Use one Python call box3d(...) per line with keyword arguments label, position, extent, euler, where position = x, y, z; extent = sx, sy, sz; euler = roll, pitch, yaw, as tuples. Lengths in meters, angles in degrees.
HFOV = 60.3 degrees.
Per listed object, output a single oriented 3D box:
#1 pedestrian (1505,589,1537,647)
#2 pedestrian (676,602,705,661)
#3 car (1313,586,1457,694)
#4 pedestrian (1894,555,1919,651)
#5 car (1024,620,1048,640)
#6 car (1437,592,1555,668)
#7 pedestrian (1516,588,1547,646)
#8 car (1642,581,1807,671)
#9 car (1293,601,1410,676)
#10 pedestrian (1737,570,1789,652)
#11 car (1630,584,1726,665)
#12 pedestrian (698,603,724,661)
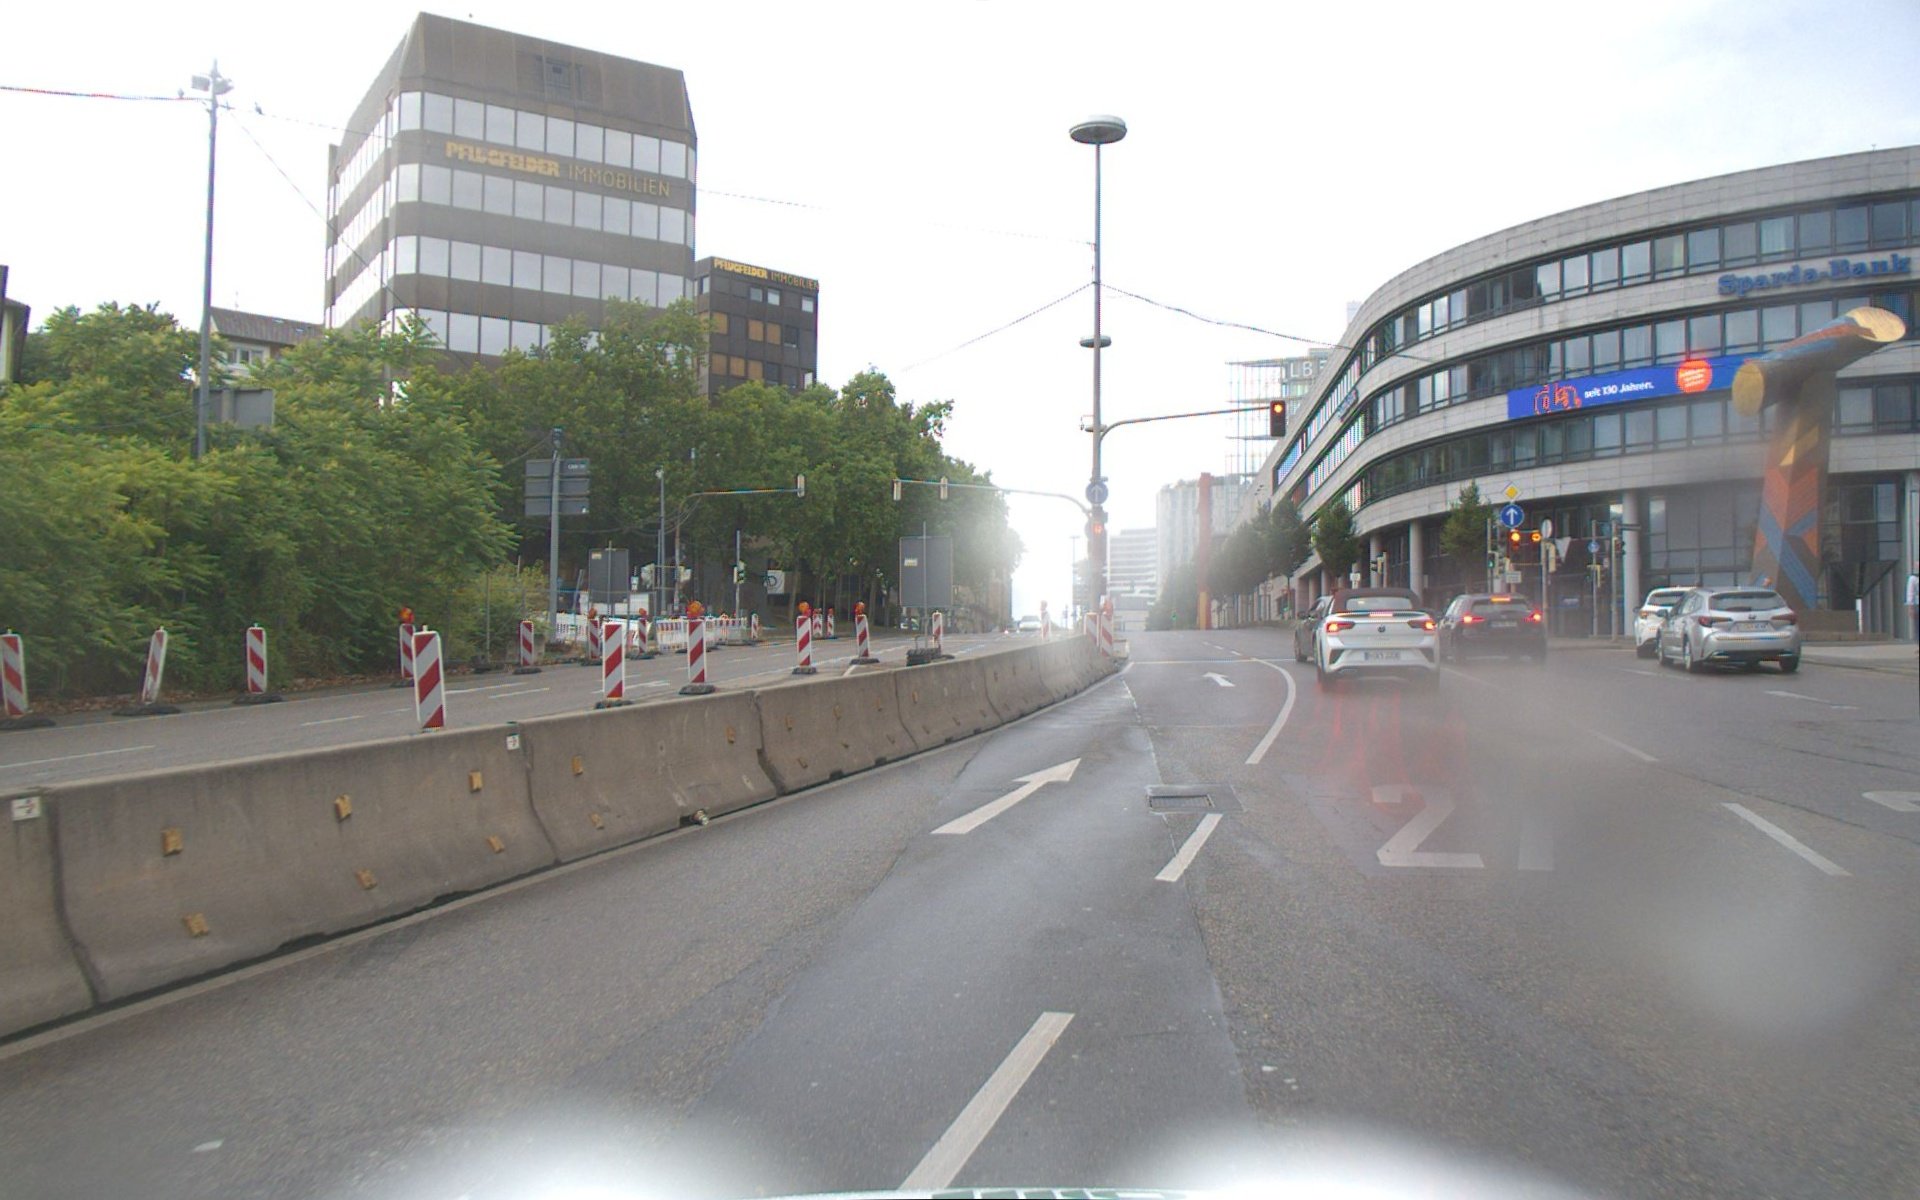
box3d(label="pedestrian", position=(18.902, 0.614, 55.725), extent=(0.825, 1.938, 0.859), euler=(-2, -3, 32))
box3d(label="pedestrian", position=(-9.120, 1.066, 55.990), extent=(0.745, 1.956, 0.742), euler=(0, -3, 8))
box3d(label="car", position=(6.653, 0.604, 26.281), extent=(1.922, 1.576, 4.222), euler=(-1, -1, 10))
box3d(label="pedestrian", position=(18.018, 0.065, 30.864), extent=(0.714, 1.741, 0.843), euler=(0, -3, 5))
box3d(label="car", position=(6.021, 2.388, 130.838), extent=(1.724, 1.486, 4.362), euler=(-2, 0, 5))
box3d(label="car", position=(10.974, 0.639, 34.103), extent=(1.717, 1.432, 4.230), euler=(1, -1, 10))
box3d(label="pedestrian", position=(19.564, 0.592, 56.651), extent=(0.825, 1.938, 0.730), euler=(-2, -2, 32))
box3d(label="car", position=(13.565, 0.484, 29.591), extent=(1.664, 1.477, 4.619), euler=(0, -2, 12))
box3d(label="car", position=(8.157, 0.791, 34.756), extent=(1.703, 1.468, 4.001), euler=(0, -1, 3))
box3d(label="pedestrian", position=(21.370, 0.294, 44.047), extent=(0.839, 2.135, 0.900), euler=(2, -1, -17))
box3d(label="car", position=(15.759, 0.514, 36.172), extent=(1.736, 1.663, 4.577), euler=(-1, -1, 26))
box3d(label="pedestrian", position=(-8.403, 1.083, 55.856), extent=(0.658, 1.935, 0.776), euler=(0, -3, 8))
